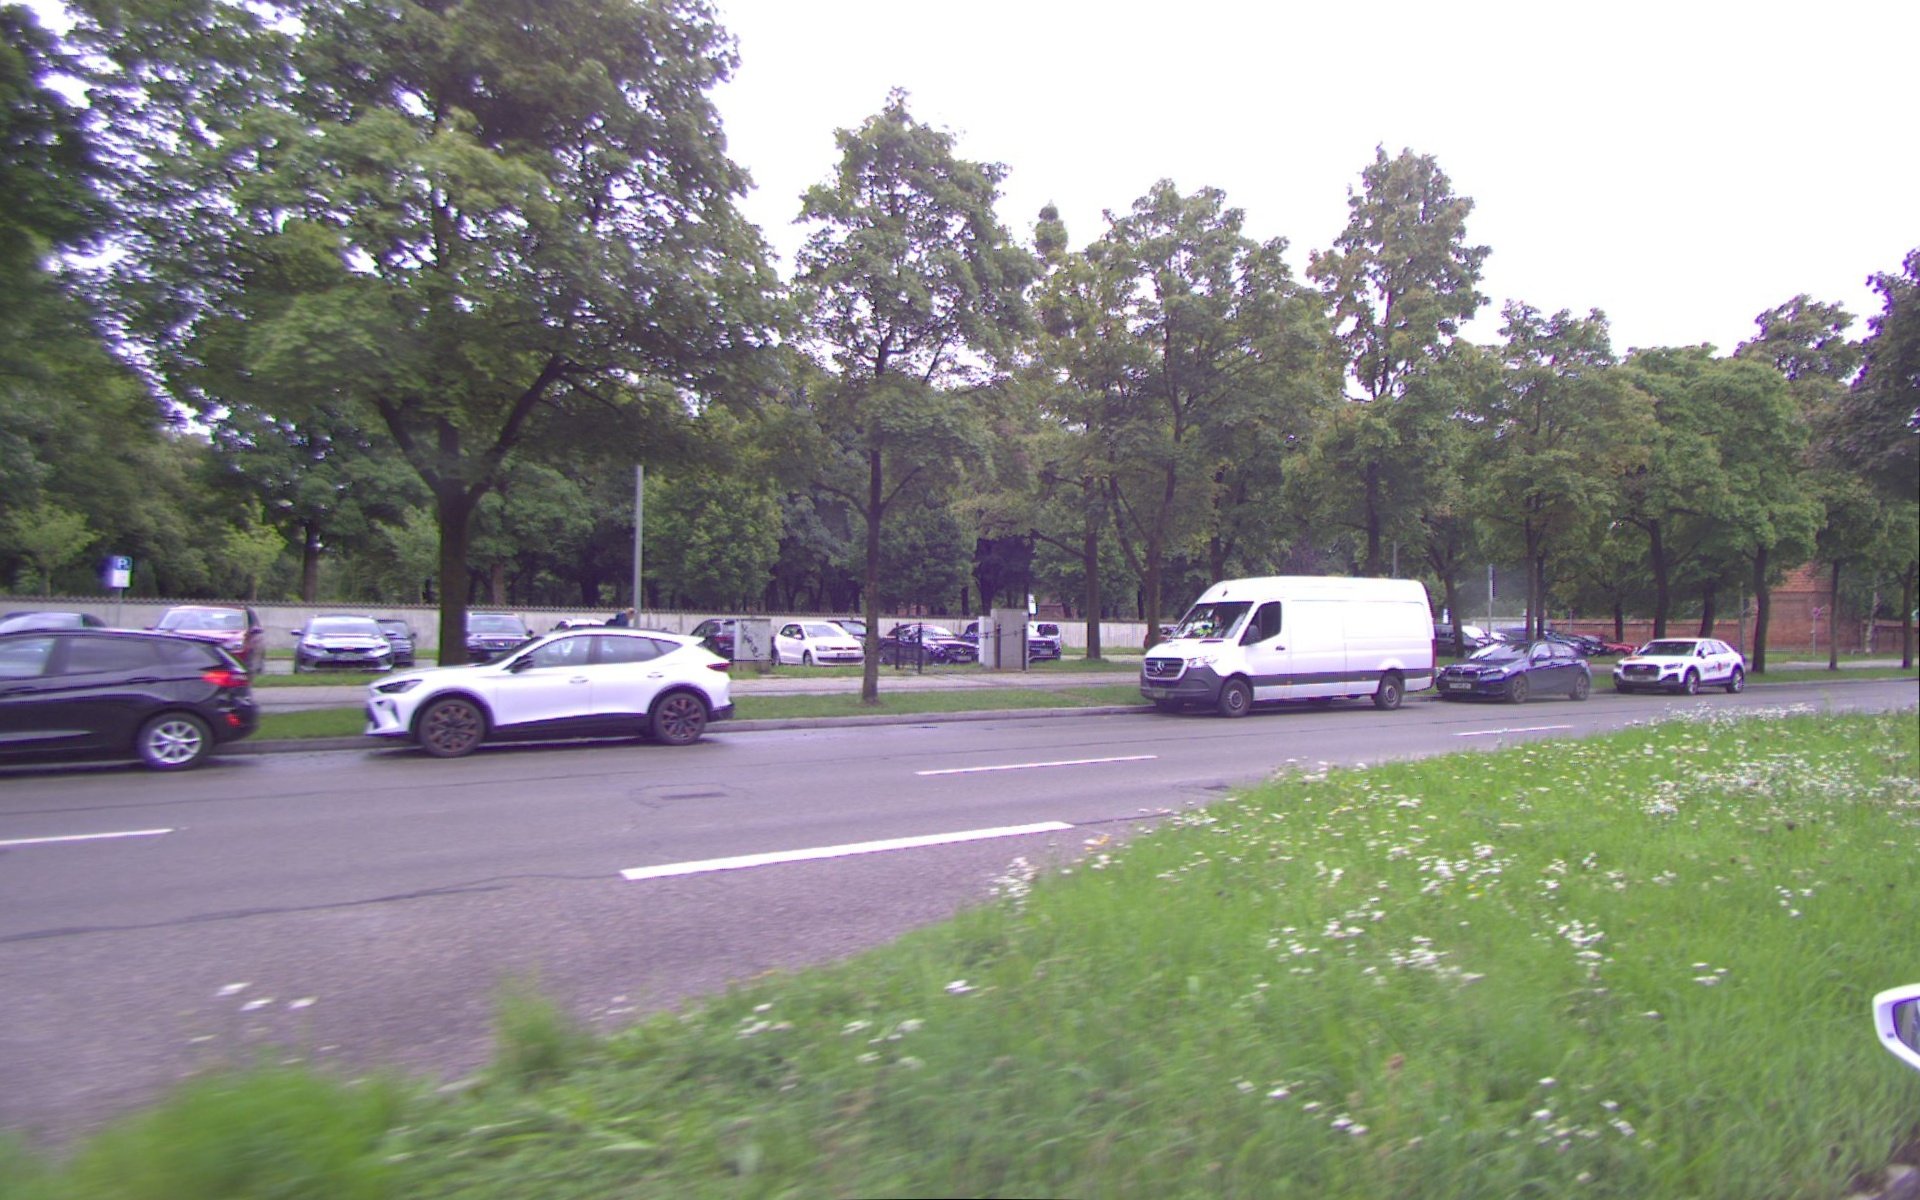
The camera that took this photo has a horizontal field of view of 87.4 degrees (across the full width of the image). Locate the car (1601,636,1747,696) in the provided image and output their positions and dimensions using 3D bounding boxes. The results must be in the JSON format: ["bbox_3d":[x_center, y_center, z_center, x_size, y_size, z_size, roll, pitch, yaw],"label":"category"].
[{"bbox_3d":[19.725,1.805,27.706,4.096,1.510,1.847,3,-2,-32],"label":"car"}]

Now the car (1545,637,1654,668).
[{"bbox_3d":[32.147,2.625,50.618,1.738,1.410,4.394,1,-2,-29],"label":"car"}]

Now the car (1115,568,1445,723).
[{"bbox_3d":[6.531,0.870,20.083,7.021,2.678,2.130,1,-2,-30],"label":"car"}]

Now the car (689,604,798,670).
[{"bbox_3d":[-5.756,0.936,26.347,1.792,1.591,3.971,1,-1,-28],"label":"car"}]

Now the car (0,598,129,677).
[{"bbox_3d":[-18.485,0.716,20.508,1.980,1.461,3.961,1,-1,-35],"label":"car"}]

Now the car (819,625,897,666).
[{"bbox_3d":[-4.333,1.887,42.247,1.750,1.617,3.966,1,-2,-31],"label":"car"}]

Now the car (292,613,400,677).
[{"bbox_3d":[-13.767,0.958,22.434,1.724,1.301,3.959,2,-2,-36],"label":"car"}]

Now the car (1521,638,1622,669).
[{"bbox_3d":[30.200,2.623,49.739,1.738,1.410,3.959,1,-2,-29],"label":"car"}]

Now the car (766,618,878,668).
[{"bbox_3d":[-4.112,1.229,29.439,1.794,1.356,3.966,1,-2,-32],"label":"car"}]

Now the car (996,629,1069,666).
[{"bbox_3d":[3.355,2.213,47.220,1.746,1.617,3.976,1,-1,-25],"label":"car"}]

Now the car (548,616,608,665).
[{"bbox_3d":[-13.861,1.426,36.298,1.746,1.675,3.976,1,-1,-25],"label":"car"}]

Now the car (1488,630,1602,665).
[{"bbox_3d":[27.758,2.229,47.813,1.977,1.524,4.329,1,-2,-30],"label":"car"}]

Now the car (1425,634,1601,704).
[{"bbox_3d":[13.222,1.629,23.956,4.205,1.510,1.847,3,-2,-32],"label":"car"}]

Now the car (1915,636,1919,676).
[{"bbox_3d":[39.287,2.160,39.200,4.267,1.557,1.877,1,-4,-32],"label":"car"}]

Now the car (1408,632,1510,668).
[{"bbox_3d":[22.375,2.229,45.235,1.968,1.524,3.986,1,-1,-16],"label":"car"}]

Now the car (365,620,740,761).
[{"bbox_3d":[-5.207,1.121,13.007,4.251,1.547,1.812,3,-4,-32],"label":"car"}]

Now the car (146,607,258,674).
[{"bbox_3d":[-16.036,0.824,21.405,1.724,1.301,3.961,1,-2,-35],"label":"car"}]

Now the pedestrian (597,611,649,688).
[{"bbox_3d":[-6.790,0.982,20.228,0.846,1.515,0.791,1,-1,-30],"label":"pedestrian"}]

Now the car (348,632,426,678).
[{"bbox_3d":[-18.868,1.771,33.213,1.852,1.391,3.976,1,-1,-25],"label":"car"}]

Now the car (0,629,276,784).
[{"bbox_3d":[-9.514,1.051,10.392,3.958,1.466,1.811,2,-3,-34],"label":"car"}]

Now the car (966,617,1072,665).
[{"bbox_3d":[1.850,1.304,32.637,1.790,1.457,3.976,1,-1,-25],"label":"car"}]

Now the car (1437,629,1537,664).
[{"bbox_3d":[24.520,2.123,46.895,1.968,1.524,3.986,1,-1,-16],"label":"car"}]

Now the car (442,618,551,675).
[{"bbox_3d":[-11.353,1.079,24.460,1.674,1.275,3.959,2,-2,-36],"label":"car"}]
